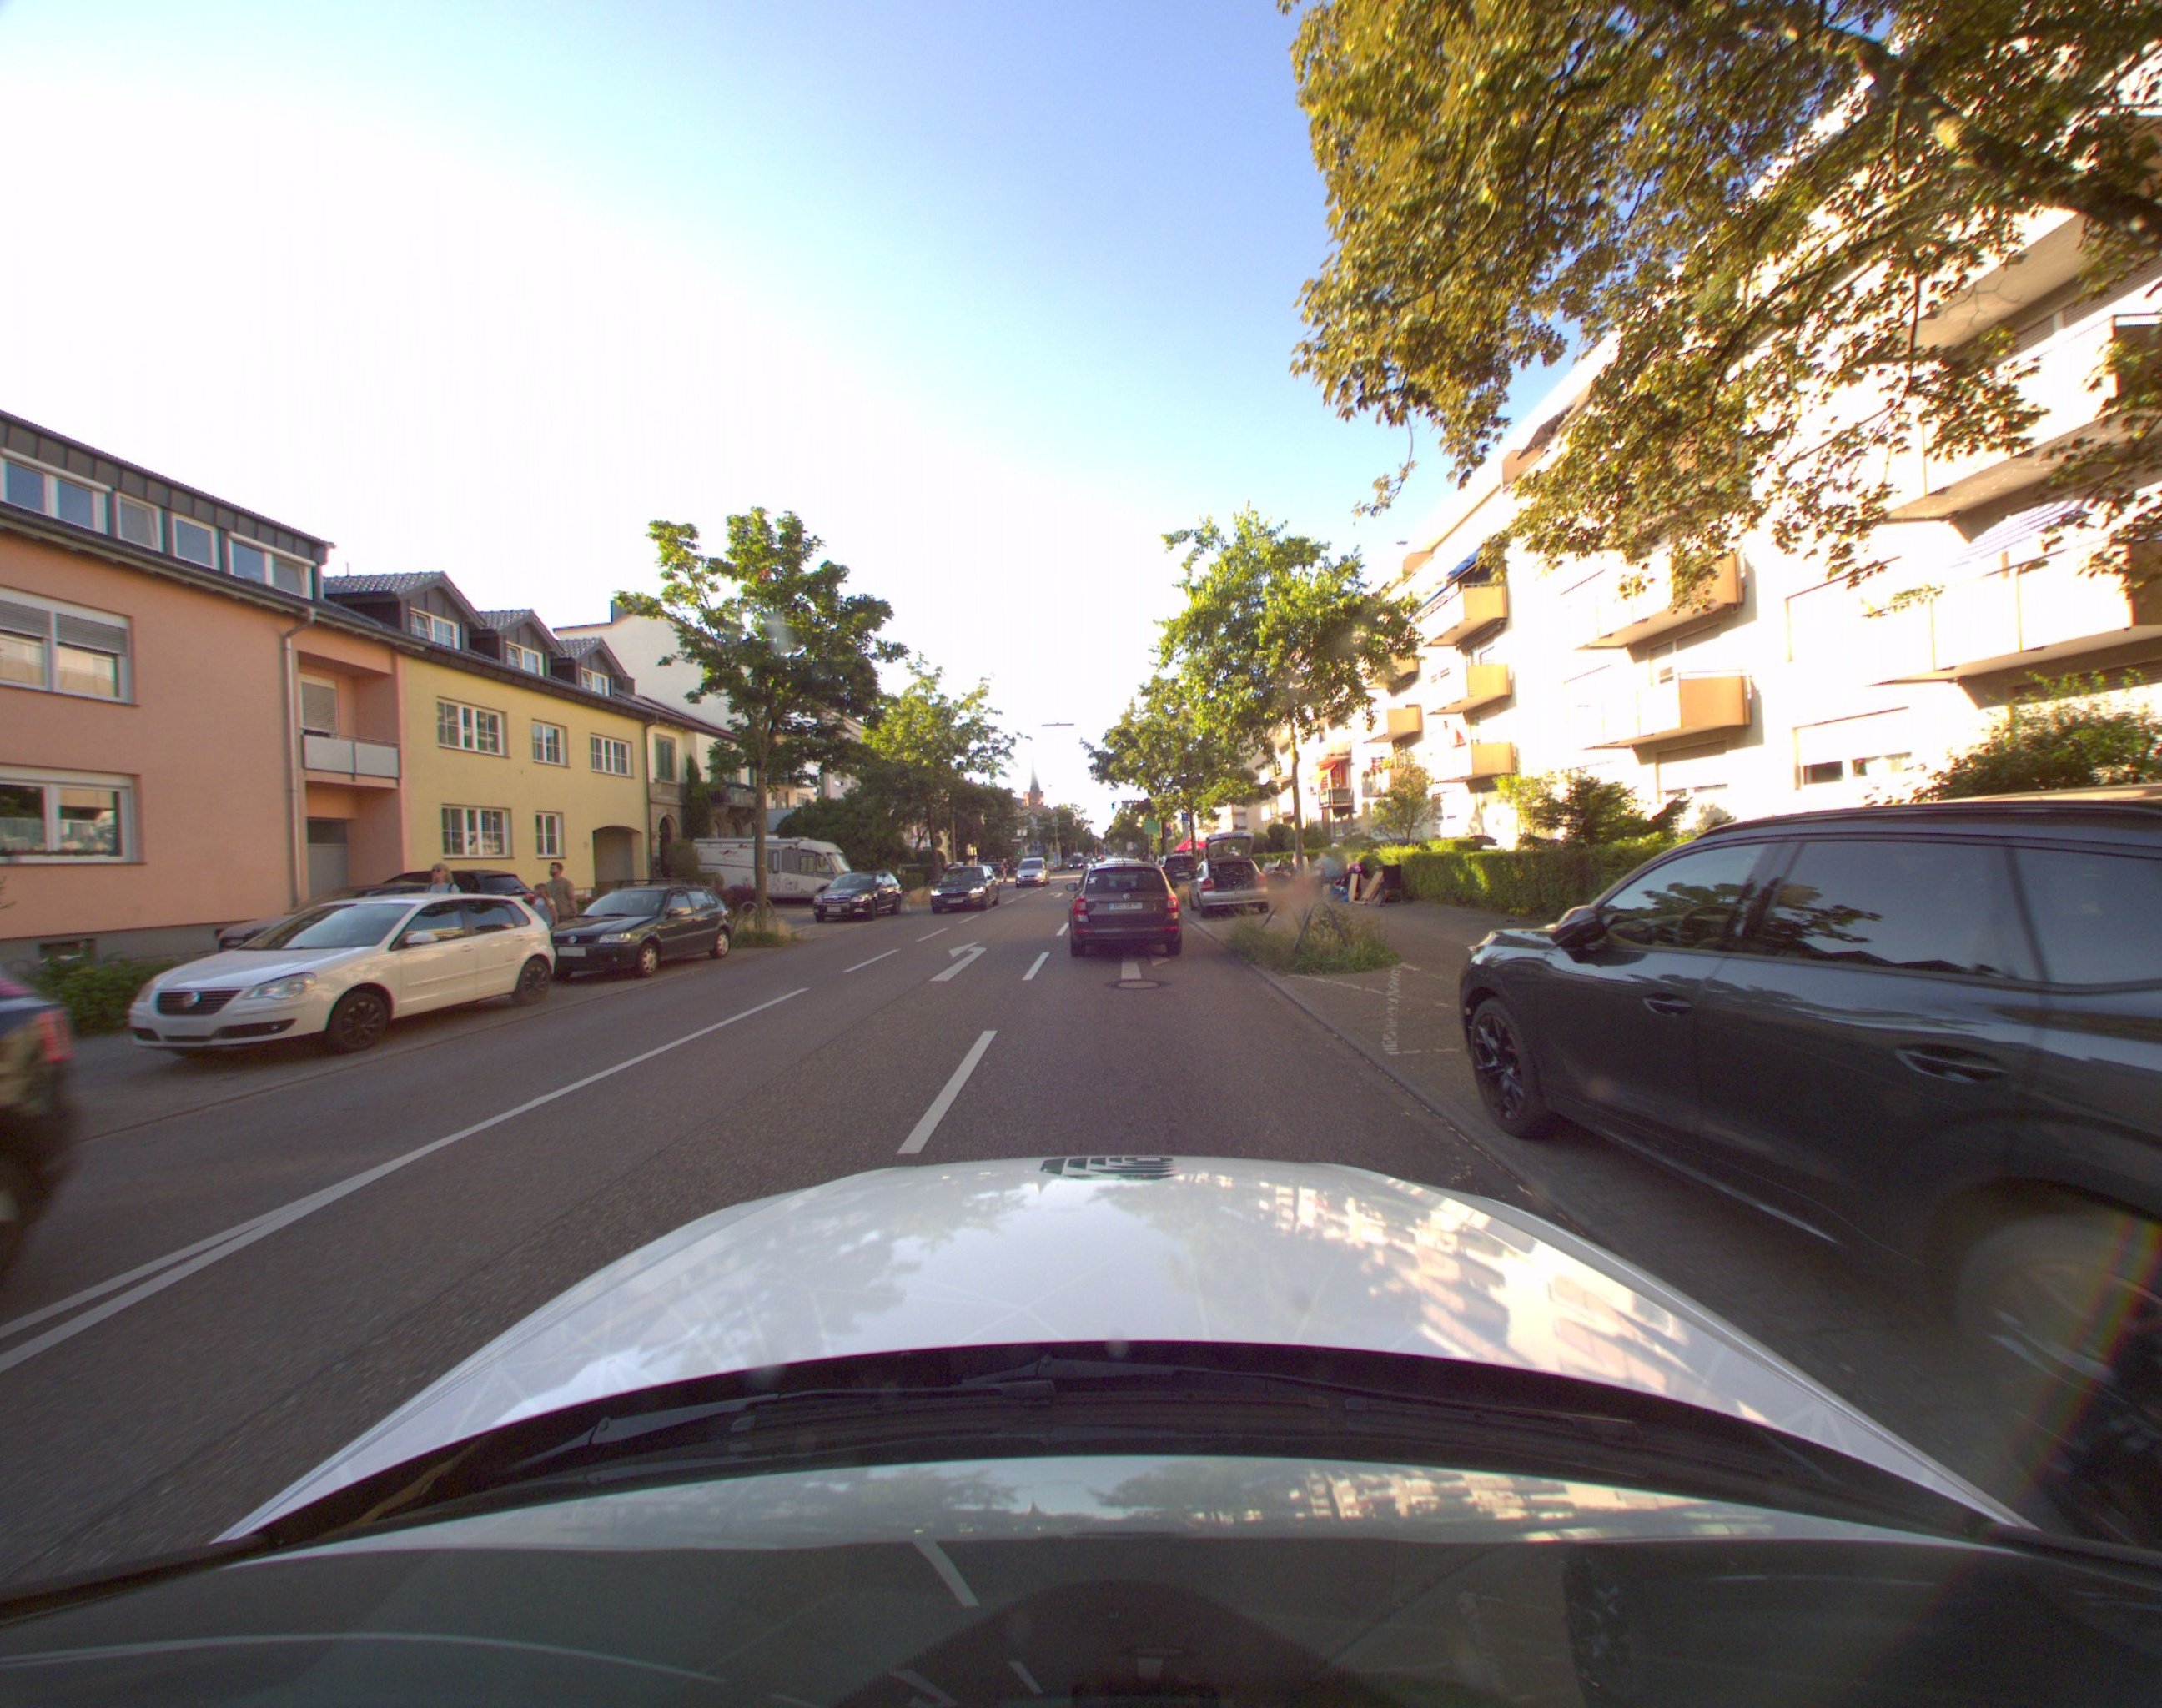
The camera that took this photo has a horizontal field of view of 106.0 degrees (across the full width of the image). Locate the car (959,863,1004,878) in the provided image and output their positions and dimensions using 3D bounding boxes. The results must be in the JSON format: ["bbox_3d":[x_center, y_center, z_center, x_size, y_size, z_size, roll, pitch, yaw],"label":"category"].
[{"bbox_3d":[-10.803,1.795,88.907,4.617,1.535,1.862,-2,-1,1],"label":"car"}]

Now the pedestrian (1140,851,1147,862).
[{"bbox_3d":[10.019,0.432,130.500,0.668,1.704,0.806,-3,-1,28],"label":"pedestrian"}]

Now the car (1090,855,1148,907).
[{"bbox_3d":[1.261,0.825,26.732,1.729,1.571,4.003,-1,0,3],"label":"car"}]

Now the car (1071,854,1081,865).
[{"bbox_3d":[-1.032,1.236,181.626,1.986,2.478,4.002,-3,-1,2],"label":"car"}]

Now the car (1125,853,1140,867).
[{"bbox_3d":[6.888,0.771,108.770,1.984,1.772,4.005,-1,0,5],"label":"car"}]

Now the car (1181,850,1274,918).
[{"bbox_3d":[3.727,0.719,21.375,1.702,1.480,4.270,-5,0,2],"label":"car"}]

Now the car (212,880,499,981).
[{"bbox_3d":[-12.908,1.288,14.853,1.657,1.409,3.756,-3,0,3],"label":"car"}]

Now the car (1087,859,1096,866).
[{"bbox_3d":[2.352,1.857,175.101,1.780,1.571,4.003,-1,0,3],"label":"car"}]

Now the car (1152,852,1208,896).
[{"bbox_3d":[4.022,0.776,33.785,1.849,1.581,4.015,-4,0,2],"label":"car"}]

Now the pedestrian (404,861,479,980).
[{"bbox_3d":[-9.995,1.025,12.736,0.710,1.792,0.506,-3,-1,4],"label":"pedestrian"}]

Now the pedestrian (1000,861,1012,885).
[{"bbox_3d":[-6.283,1.591,68.019,0.777,1.987,0.821,-3,-1,2],"label":"pedestrian"}]

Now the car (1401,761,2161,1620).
[{"bbox_3d":[2.920,0.562,2.900,1.849,1.603,4.313,-5,0,2],"label":"car"}]

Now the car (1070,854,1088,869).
[{"bbox_3d":[-0.246,0.996,109.838,1.986,1.908,4.965,-5,0,2],"label":"car"}]

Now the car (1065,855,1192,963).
[{"bbox_3d":[0.742,0.796,13.779,1.766,1.489,4.312,-1,0,2],"label":"car"}]

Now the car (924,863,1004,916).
[{"bbox_3d":[-3.820,1.107,27.353,1.754,1.452,4.536,-5,0,2],"label":"car"}]

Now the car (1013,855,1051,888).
[{"bbox_3d":[-2.971,1.036,50.053,1.799,1.804,4.747,-4,-1,2],"label":"car"}]

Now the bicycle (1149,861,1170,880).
[{"bbox_3d":[4.551,0.959,47.343,0.613,1.051,1.583,-3,-1,28],"label":"bicycle"}]

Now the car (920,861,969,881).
[{"bbox_3d":[-13.919,1.717,83.077,4.617,1.812,1.862,-3,-1,1],"label":"car"}]

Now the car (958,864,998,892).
[{"bbox_3d":[-5.890,1.346,47.036,1.642,1.517,4.076,-1,0,2],"label":"car"}]

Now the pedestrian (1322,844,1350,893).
[{"bbox_3d":[8.282,0.466,26.432,0.586,1.540,0.700,-3,-1,38],"label":"pedestrian"}]

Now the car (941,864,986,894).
[{"bbox_3d":[-6.068,1.254,42.408,1.587,1.470,3.805,0,0,2],"label":"car"}]

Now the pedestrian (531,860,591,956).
[{"bbox_3d":[-10.013,1.024,15.696,0.710,1.792,0.572,-3,-1,4],"label":"pedestrian"}]

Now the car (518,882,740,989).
[{"bbox_3d":[-7.359,1.252,13.697,1.537,1.396,3.667,-3,0,2],"label":"car"}]

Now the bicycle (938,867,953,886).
[{"bbox_3d":[-7.778,1.269,46.795,0.484,1.064,1.534,-3,-1,1],"label":"bicycle"}]

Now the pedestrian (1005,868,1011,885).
[{"bbox_3d":[-7.751,2.371,86.362,0.447,1.797,0.504,-3,-1,2],"label":"pedestrian"}]

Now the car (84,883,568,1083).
[{"bbox_3d":[-7.702,1.176,8.933,1.587,1.523,3.891,-3,0,1],"label":"car"}]

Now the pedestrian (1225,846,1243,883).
[{"bbox_3d":[7.321,0.498,38.892,0.659,1.749,0.773,-4,-1,5],"label":"pedestrian"}]

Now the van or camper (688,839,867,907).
[{"bbox_3d":[-12.904,0.790,34.971,6.774,2.773,2.352,0,-1,0],"label":"van or camper"}]

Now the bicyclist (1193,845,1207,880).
[{"bbox_3d":[6.178,0.450,42.371,0.579,1.789,0.852,-2,0,2],"label":"bicyclist"}]

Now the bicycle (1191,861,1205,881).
[{"bbox_3d":[6.064,0.868,42.371,0.514,0.987,1.832,-2,0,2],"label":"bicycle"}]

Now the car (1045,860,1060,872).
[{"bbox_3d":[-3.667,1.568,104.773,1.517,1.457,3.587,-3,0,2],"label":"car"}]

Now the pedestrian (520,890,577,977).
[{"bbox_3d":[-9.571,1.417,14.647,0.587,1.496,0.543,-3,-1,4],"label":"pedestrian"}]

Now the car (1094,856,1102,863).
[{"bbox_3d":[5.142,1.569,244.725,1.986,2.013,4.002,-3,0,2],"label":"car"}]

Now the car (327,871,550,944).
[{"bbox_3d":[-15.494,1.262,19.800,3.970,1.636,1.867,-1,0,2],"label":"car"}]

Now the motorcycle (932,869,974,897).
[{"bbox_3d":[-6.080,1.377,38.695,2.028,1.265,0.772,-3,-1,40],"label":"motorcycle"}]

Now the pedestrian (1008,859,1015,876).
[{"bbox_3d":[-7.337,1.443,85.818,0.613,1.797,0.504,-3,-1,2],"label":"pedestrian"}]

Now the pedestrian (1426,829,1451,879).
[{"bbox_3d":[11.928,0.015,27.165,0.475,1.640,0.533,-3,-1,-17],"label":"pedestrian"}]

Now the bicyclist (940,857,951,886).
[{"bbox_3d":[-7.794,0.997,46.818,0.467,1.663,0.552,-3,-1,1],"label":"bicyclist"}]

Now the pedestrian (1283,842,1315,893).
[{"bbox_3d":[7.251,0.441,27.064,0.748,1.640,0.700,-3,-1,38],"label":"pedestrian"}]

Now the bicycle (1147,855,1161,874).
[{"bbox_3d":[4.565,0.686,51.183,0.501,1.147,1.956,-5,-1,-4],"label":"bicycle"}]

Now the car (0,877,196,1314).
[{"bbox_3d":[-4.907,0.931,1.590,1.829,1.570,4.001,-5,-1,2],"label":"car"}]

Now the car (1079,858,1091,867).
[{"bbox_3d":[0.724,1.535,147.147,1.823,1.579,4.002,-3,0,2],"label":"car"}]

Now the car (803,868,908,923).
[{"bbox_3d":[-6.952,1.239,25.592,1.860,1.494,4.519,-1,0,2],"label":"car"}]

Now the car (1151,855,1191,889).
[{"bbox_3d":[4.301,0.826,39.377,1.696,1.450,4.018,-4,0,4],"label":"car"}]
